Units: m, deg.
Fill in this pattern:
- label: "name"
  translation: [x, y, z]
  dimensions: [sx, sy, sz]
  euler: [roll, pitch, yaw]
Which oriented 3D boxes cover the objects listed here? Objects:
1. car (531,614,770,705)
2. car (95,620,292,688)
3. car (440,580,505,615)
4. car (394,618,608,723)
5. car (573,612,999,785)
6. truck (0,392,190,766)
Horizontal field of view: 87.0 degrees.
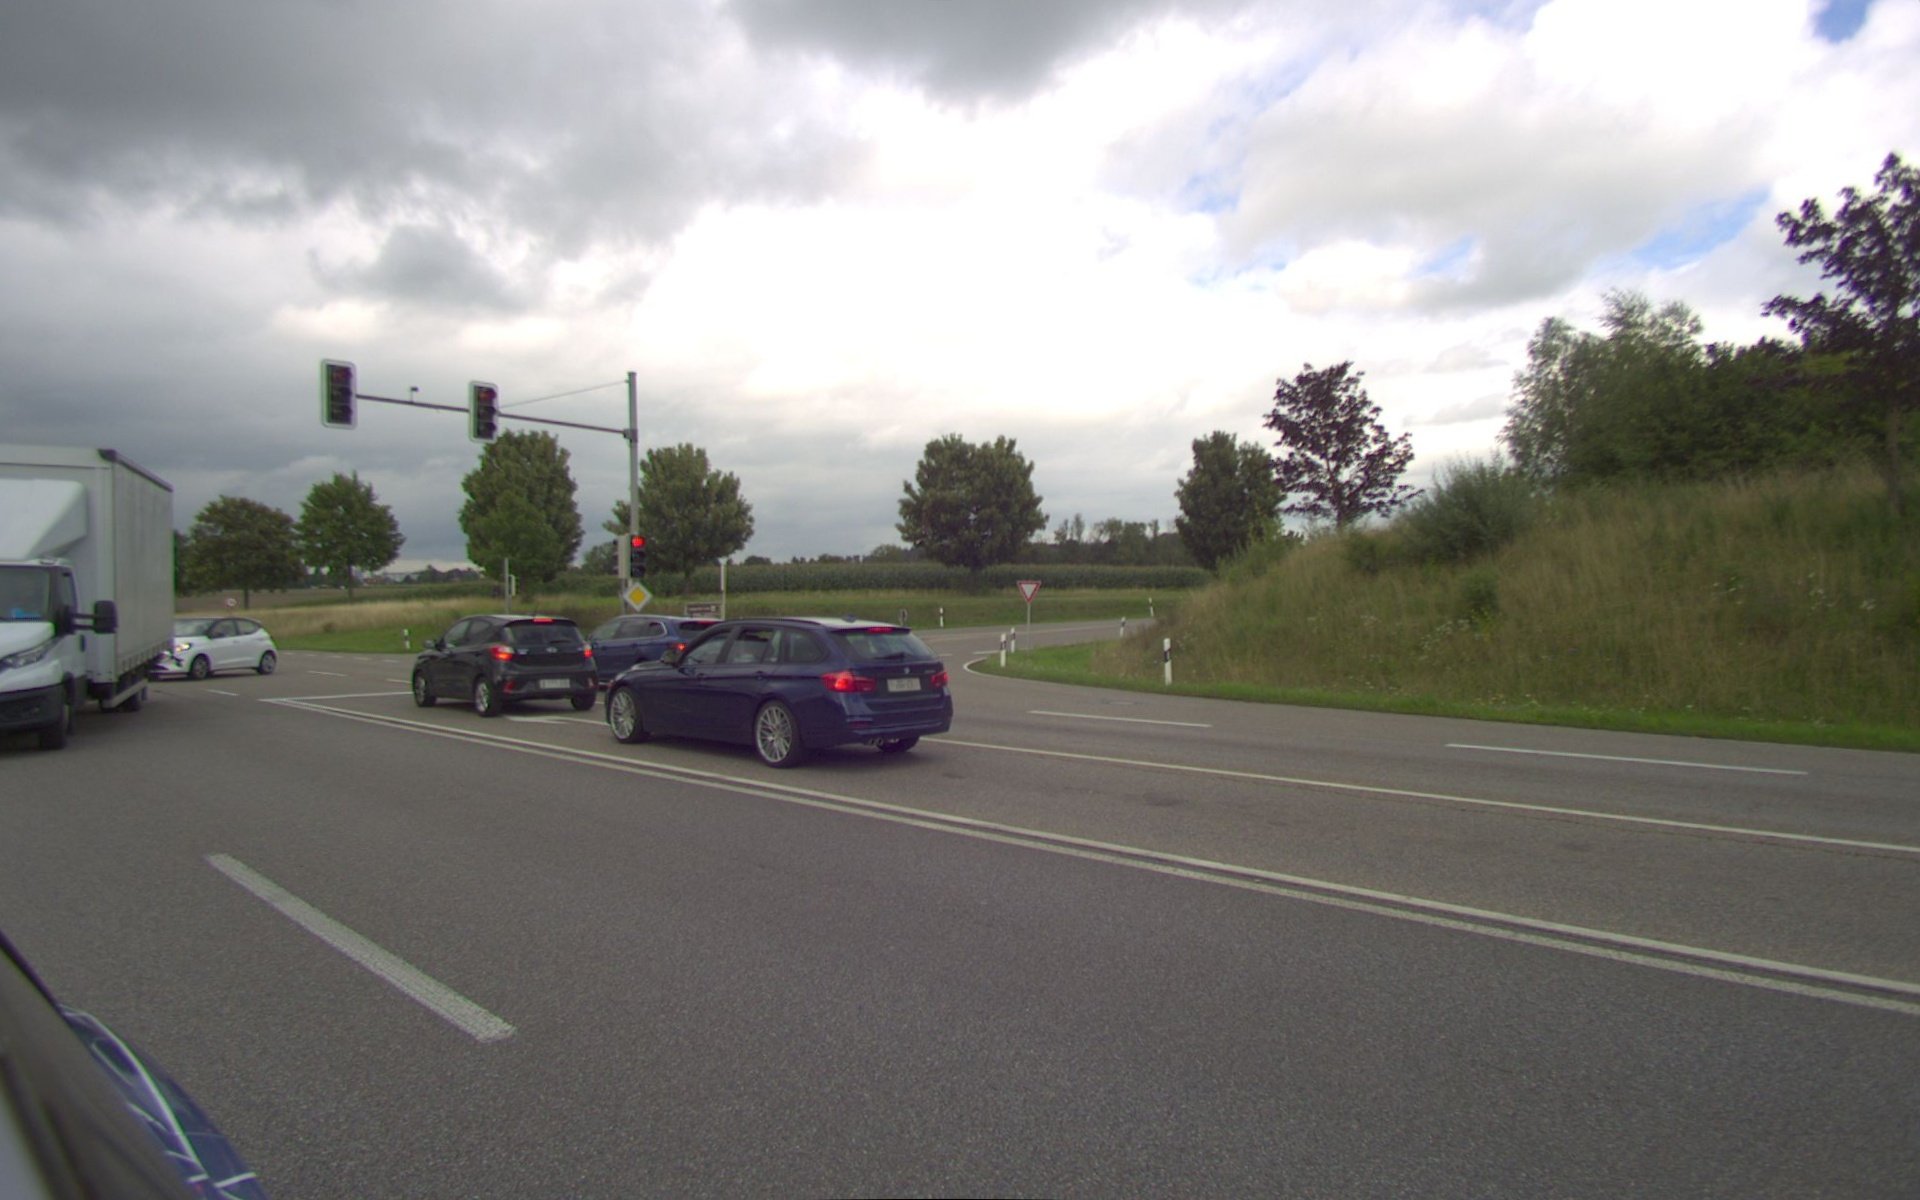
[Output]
- label: "car"
  translation: [-6.147, 1.070, 19.760]
  dimensions: [5.123, 1.546, 2.024]
  euler: [-1, -1, 40]
- label: "car"
  translation: [-18.503, 1.246, 24.672]
  dimensions: [1.785, 1.463, 3.999]
  euler: [-1, -1, 0]
- label: "car"
  translation: [-31.157, -0.151, 64.649]
  dimensions: [3.991, 2.029, 1.976]
  euler: [-2, 1, 35]
- label: "car"
  translation: [-7.350, 1.027, 16.042]
  dimensions: [3.944, 1.454, 1.707]
  euler: [-1, -2, 43]
- label: "car"
  translation: [-2.095, 0.917, 11.161]
  dimensions: [4.879, 1.495, 2.027]
  euler: [-1, -2, 41]
- label: "truck"
  translation: [-12.681, -0.162, 13.603]
  dimensions: [2.791, 3.792, 8.825]
  euler: [1, -1, -31]
